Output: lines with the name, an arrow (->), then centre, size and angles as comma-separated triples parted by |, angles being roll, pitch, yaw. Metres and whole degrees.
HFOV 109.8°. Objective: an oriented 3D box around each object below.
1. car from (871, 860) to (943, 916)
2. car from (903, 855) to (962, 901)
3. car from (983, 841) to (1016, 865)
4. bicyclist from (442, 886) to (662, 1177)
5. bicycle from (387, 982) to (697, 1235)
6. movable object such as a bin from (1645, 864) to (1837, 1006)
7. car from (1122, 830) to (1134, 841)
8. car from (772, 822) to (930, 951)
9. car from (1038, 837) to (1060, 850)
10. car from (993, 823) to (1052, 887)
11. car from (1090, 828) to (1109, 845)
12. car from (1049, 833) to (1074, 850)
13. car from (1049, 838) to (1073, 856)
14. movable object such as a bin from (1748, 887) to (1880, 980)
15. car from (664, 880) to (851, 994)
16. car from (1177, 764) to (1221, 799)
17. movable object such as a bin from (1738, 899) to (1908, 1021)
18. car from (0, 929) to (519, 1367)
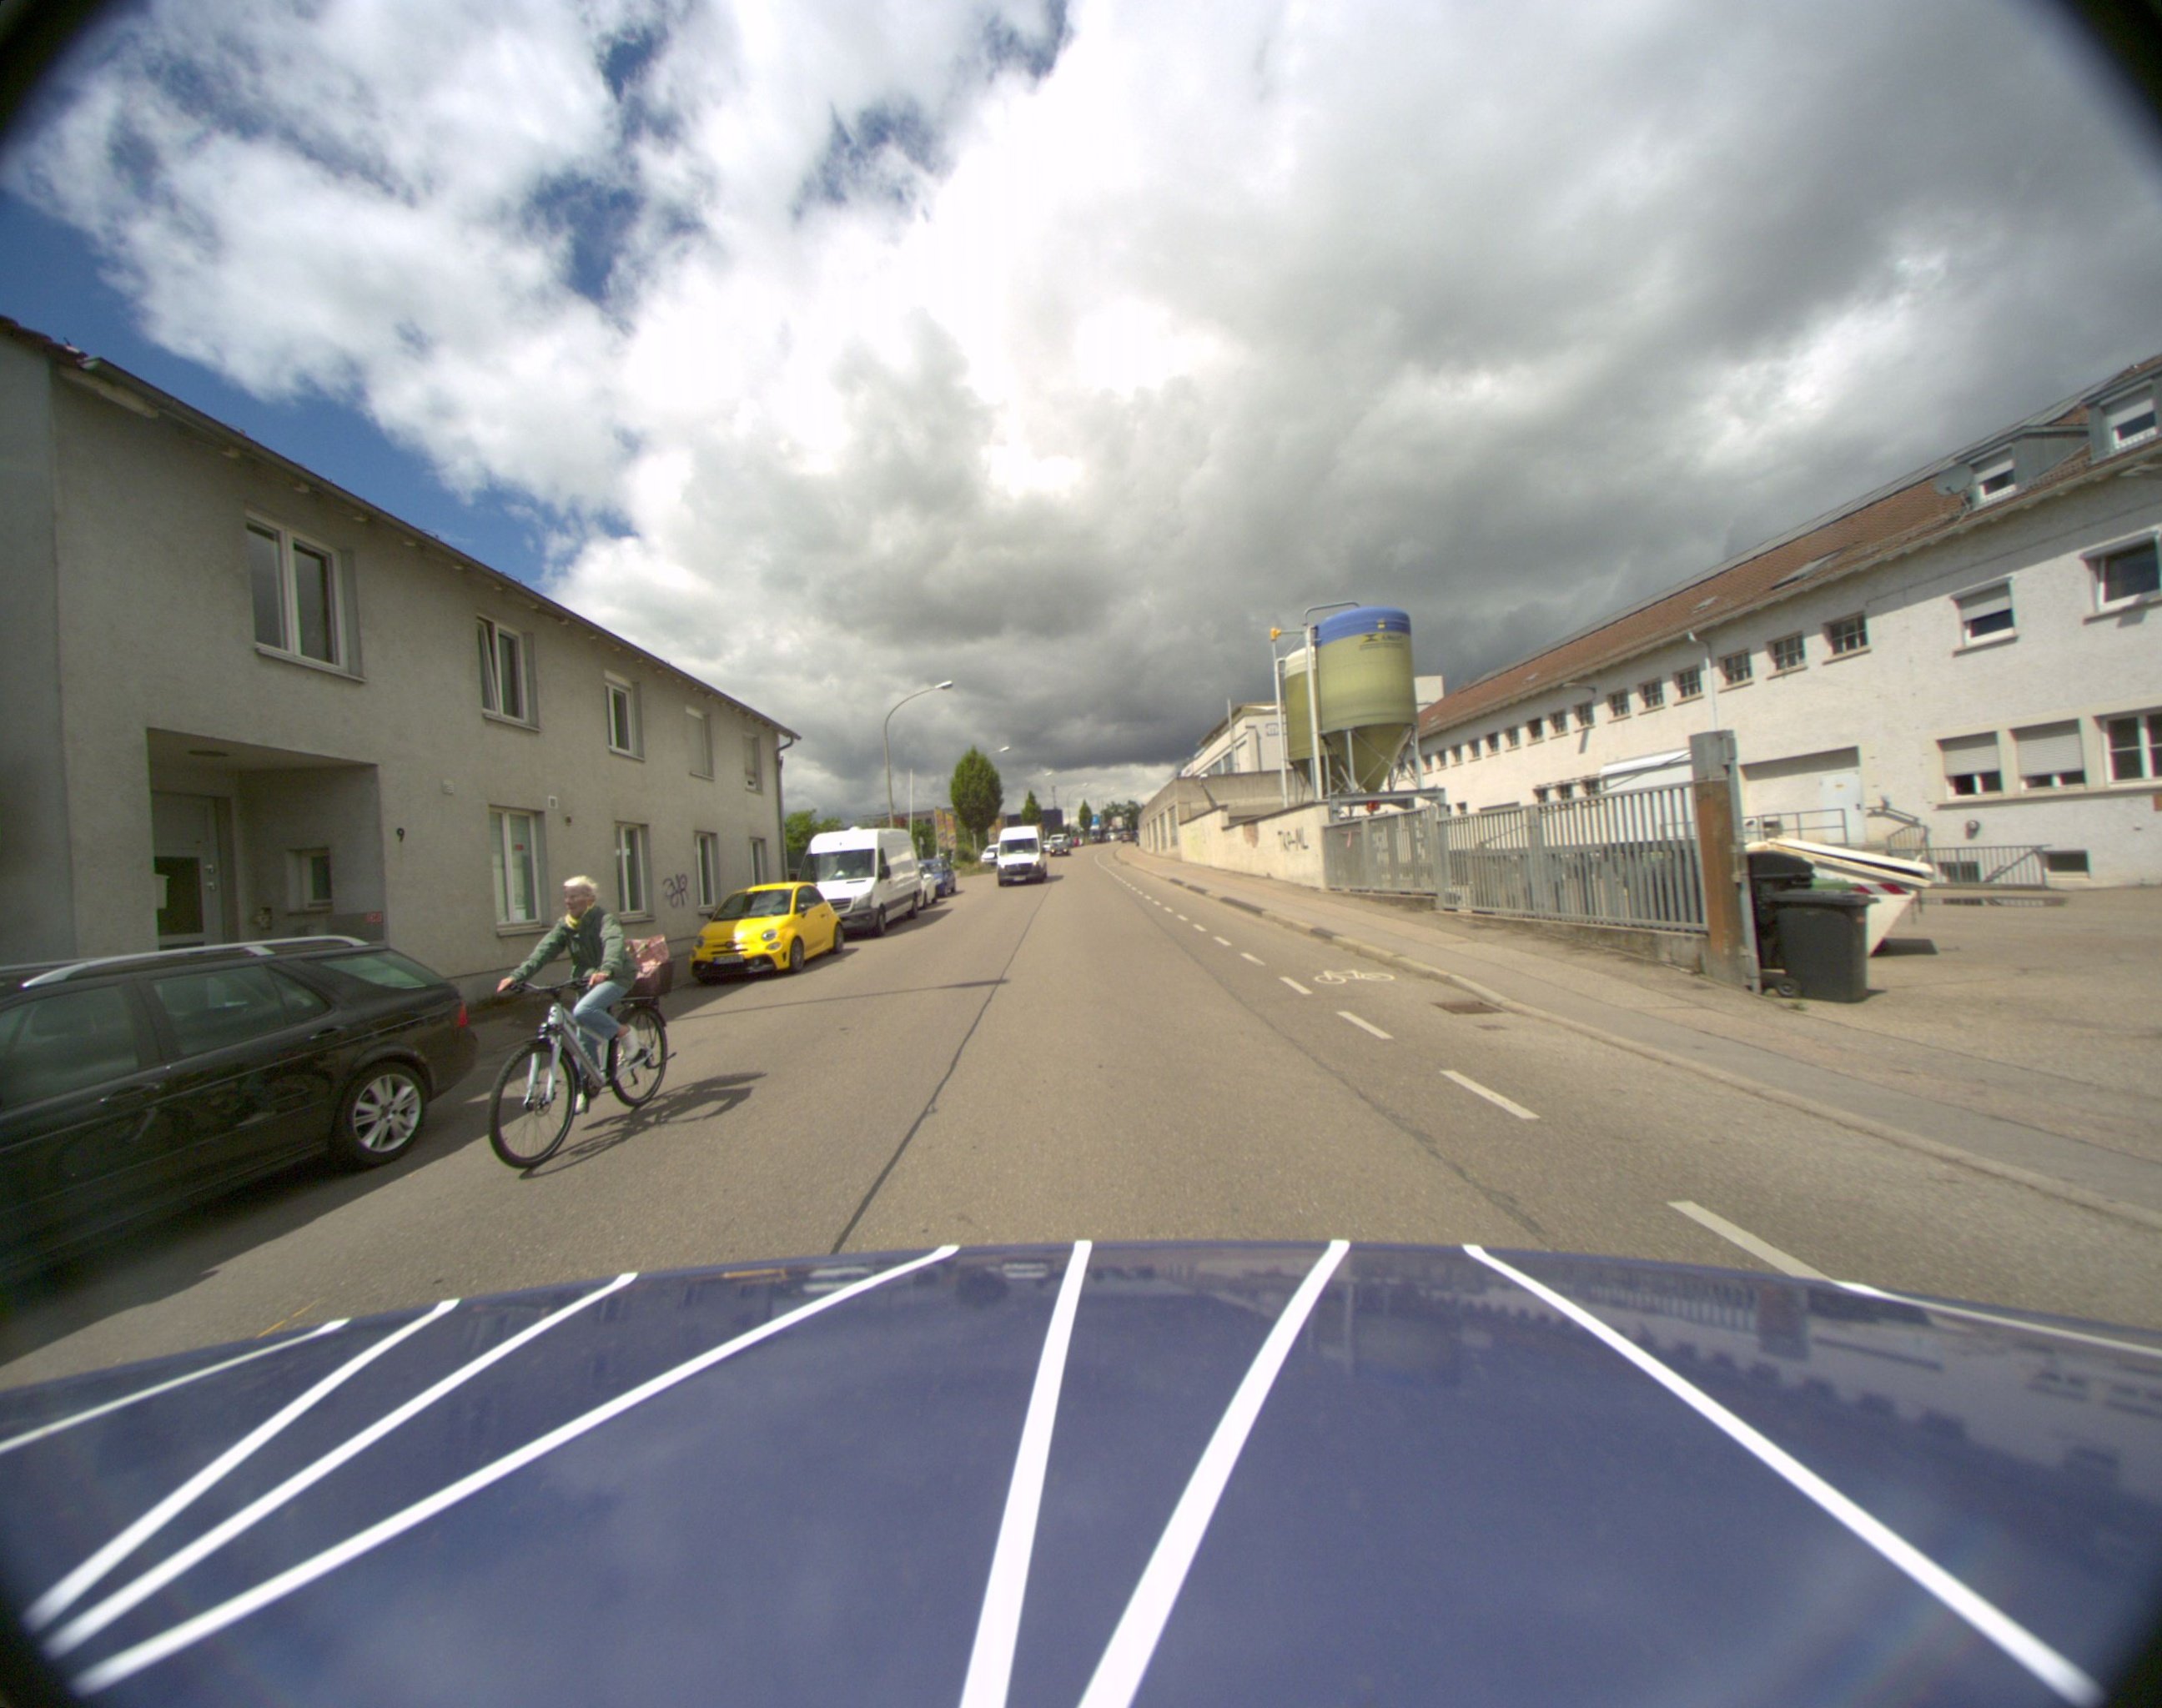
car -> -5.822, 1.075, 25.841 | 1.597, 1.502, 3.788 | -5, 2, -3
car -> -5.974, 0.907, 30.979 | 1.571, 1.502, 4.092 | -5, 2, -1
car -> -6.057, -0.085, 56.825 | 1.846, 1.557, 4.464 | -3, 2, 1
bicyclist -> -3.319, 1.067, 4.855 | 0.741, 1.617, 0.731 | -5, 2, -4
bicycle -> -3.276, 1.487, 4.874 | 0.742, 0.969, 1.731 | -5, 1, -3
movable object such as a bin -> 7.079, 0.820, 8.238 | 0.993, 1.385, 1.215 | -2, 0, 1
car -> 7.494, -2.950, 120.887 | 1.804, 1.613, 4.092 | -3, 2, 2
car -> -5.679, 0.654, 20.046 | 2.039, 2.626, 7.280 | -5, 1, -2
car -> -3.857, -1.291, 92.382 | 1.640, 1.379, 4.206 | -4, 2, 9
car -> -2.620, -0.061, 35.659 | 2.082, 2.576, 6.060 | -4, 2, 0
car -> 3.177, -3.066, 129.116 | 2.058, 2.580, 5.738 | -4, 2, 13
car -> -2.530, -1.652, 100.280 | 1.978, 1.993, 5.549 | -4, 2, 10
car -> -1.897, -0.689, 74.226 | 1.584, 1.498, 3.958 | -4, 2, 9
movable object such as a bin -> 8.870, 0.935, 9.221 | 0.736, 0.996, 0.858 | -4, 0, -17
car -> -5.492, 1.322, 13.463 | 1.597, 1.439, 3.789 | -5, 1, 0
car -> 6.838, -4.197, 44.384 | 1.810, 1.627, 4.103 | -4, 2, 0
movable object such as a bin -> 7.050, 0.989, 7.263 | 0.874, 1.044, 0.740 | -2, 0, 3
car -> -5.244, 1.396, 3.377 | 1.709, 1.501, 5.086 | -6, 0, -2
